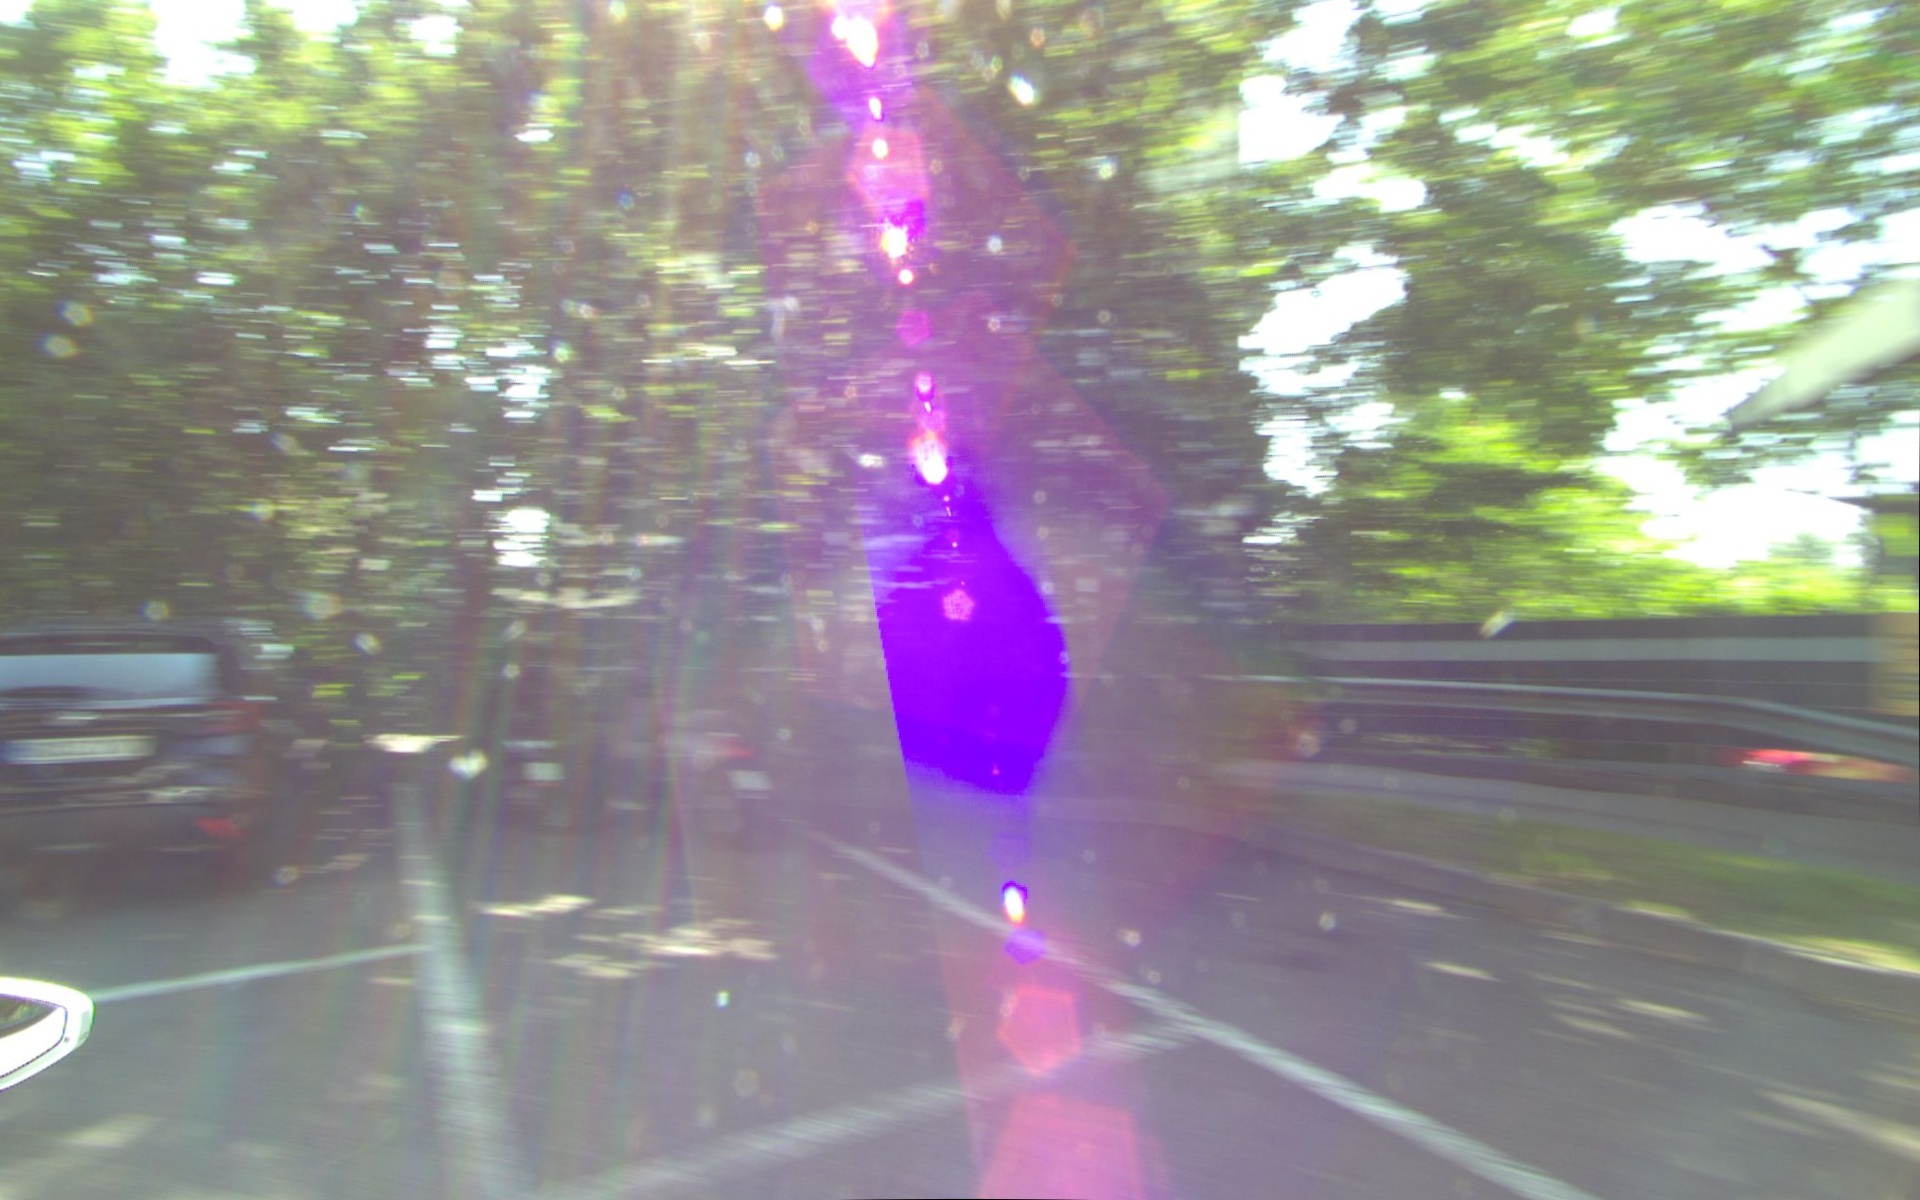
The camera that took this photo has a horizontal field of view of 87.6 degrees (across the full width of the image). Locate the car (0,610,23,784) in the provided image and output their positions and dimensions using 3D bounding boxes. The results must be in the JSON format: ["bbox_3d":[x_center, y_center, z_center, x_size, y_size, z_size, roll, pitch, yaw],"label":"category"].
[{"bbox_3d":[-8.212,0.801,6.716,1.678,1.472,3.984,0,0,-26],"label":"car"}]

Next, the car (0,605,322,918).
[{"bbox_3d":[-5.344,0.785,6.591,1.636,1.489,3.885,0,0,-28],"label":"car"}]

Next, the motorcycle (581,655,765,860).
[{"bbox_3d":[-1.979,0.986,6.780,0.564,1.184,1.591,1,-2,-41],"label":"motorcycle"}]

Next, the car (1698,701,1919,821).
[{"bbox_3d":[12.342,2.162,13.651,3.350,1.397,1.486,0,0,10],"label":"car"}]

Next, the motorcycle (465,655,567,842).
[{"bbox_3d":[-3.273,1.008,7.312,0.468,1.155,1.596,1,-1,-31],"label":"motorcycle"}]
